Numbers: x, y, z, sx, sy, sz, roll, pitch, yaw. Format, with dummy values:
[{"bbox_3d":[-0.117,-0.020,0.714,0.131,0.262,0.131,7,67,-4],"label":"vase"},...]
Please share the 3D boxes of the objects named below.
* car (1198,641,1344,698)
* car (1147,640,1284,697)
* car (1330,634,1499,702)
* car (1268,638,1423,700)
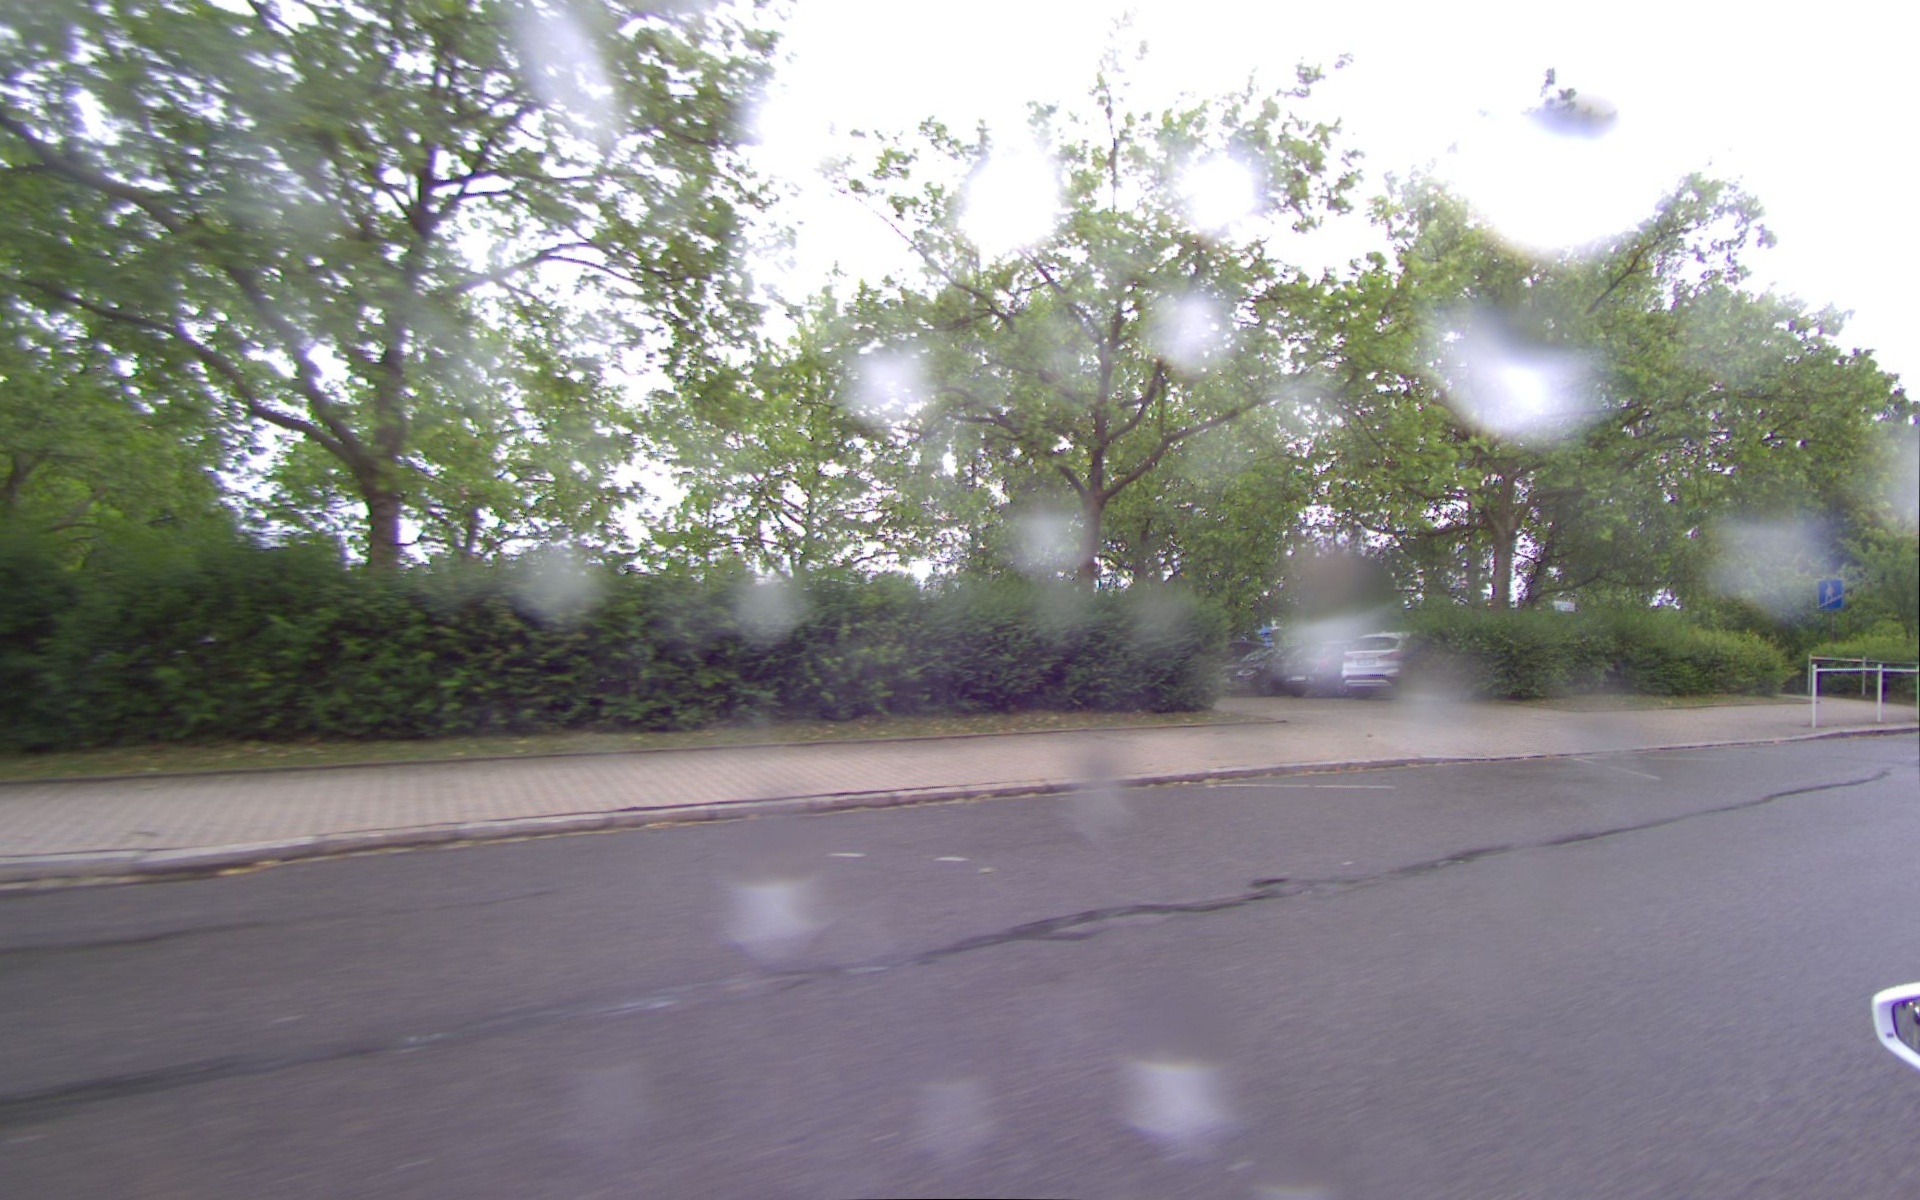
[{"bbox_3d":[8.955,1.987,28.834,3.953,1.529,1.786,1,-5,-30],"label":"car"},{"bbox_3d":[7.840,2.083,30.788,3.953,1.664,1.786,1,-5,-30],"label":"car"},{"bbox_3d":[11.104,1.646,24.501,3.953,1.529,1.786,1,-5,-30],"label":"car"},{"bbox_3d":[10.330,1.827,26.866,3.953,1.529,1.786,1,-5,-30],"label":"car"}]
